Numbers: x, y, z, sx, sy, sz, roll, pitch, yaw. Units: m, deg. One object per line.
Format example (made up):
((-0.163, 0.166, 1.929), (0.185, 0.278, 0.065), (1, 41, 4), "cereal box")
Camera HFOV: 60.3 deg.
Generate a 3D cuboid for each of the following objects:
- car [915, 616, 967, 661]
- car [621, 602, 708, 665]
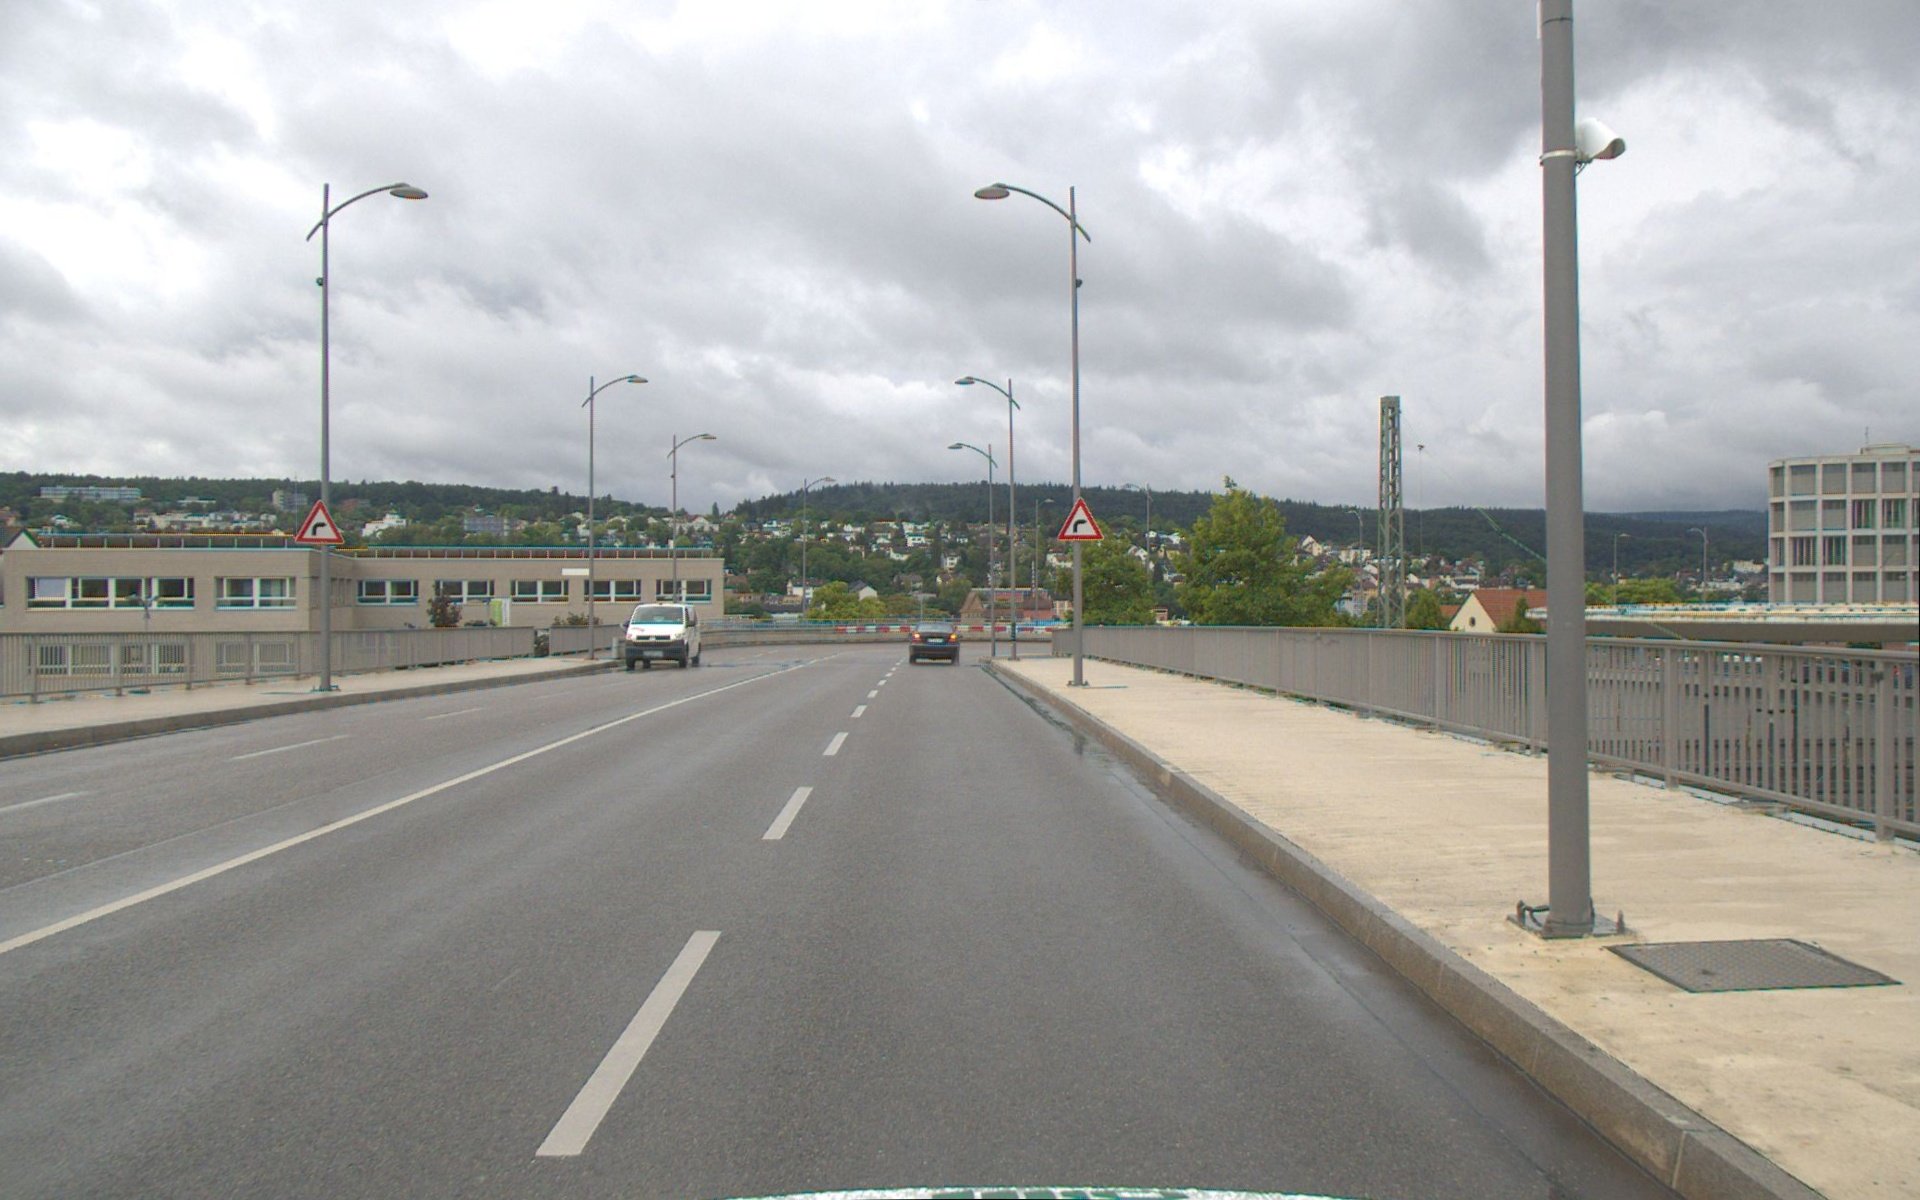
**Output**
((-0.653, 1.265, 55.676), (1.671, 1.444, 3.724), (1, -1, -1), "car")
((-9.244, 1.051, 52.119), (1.848, 1.854, 4.957), (1, -1, 0), "car")
